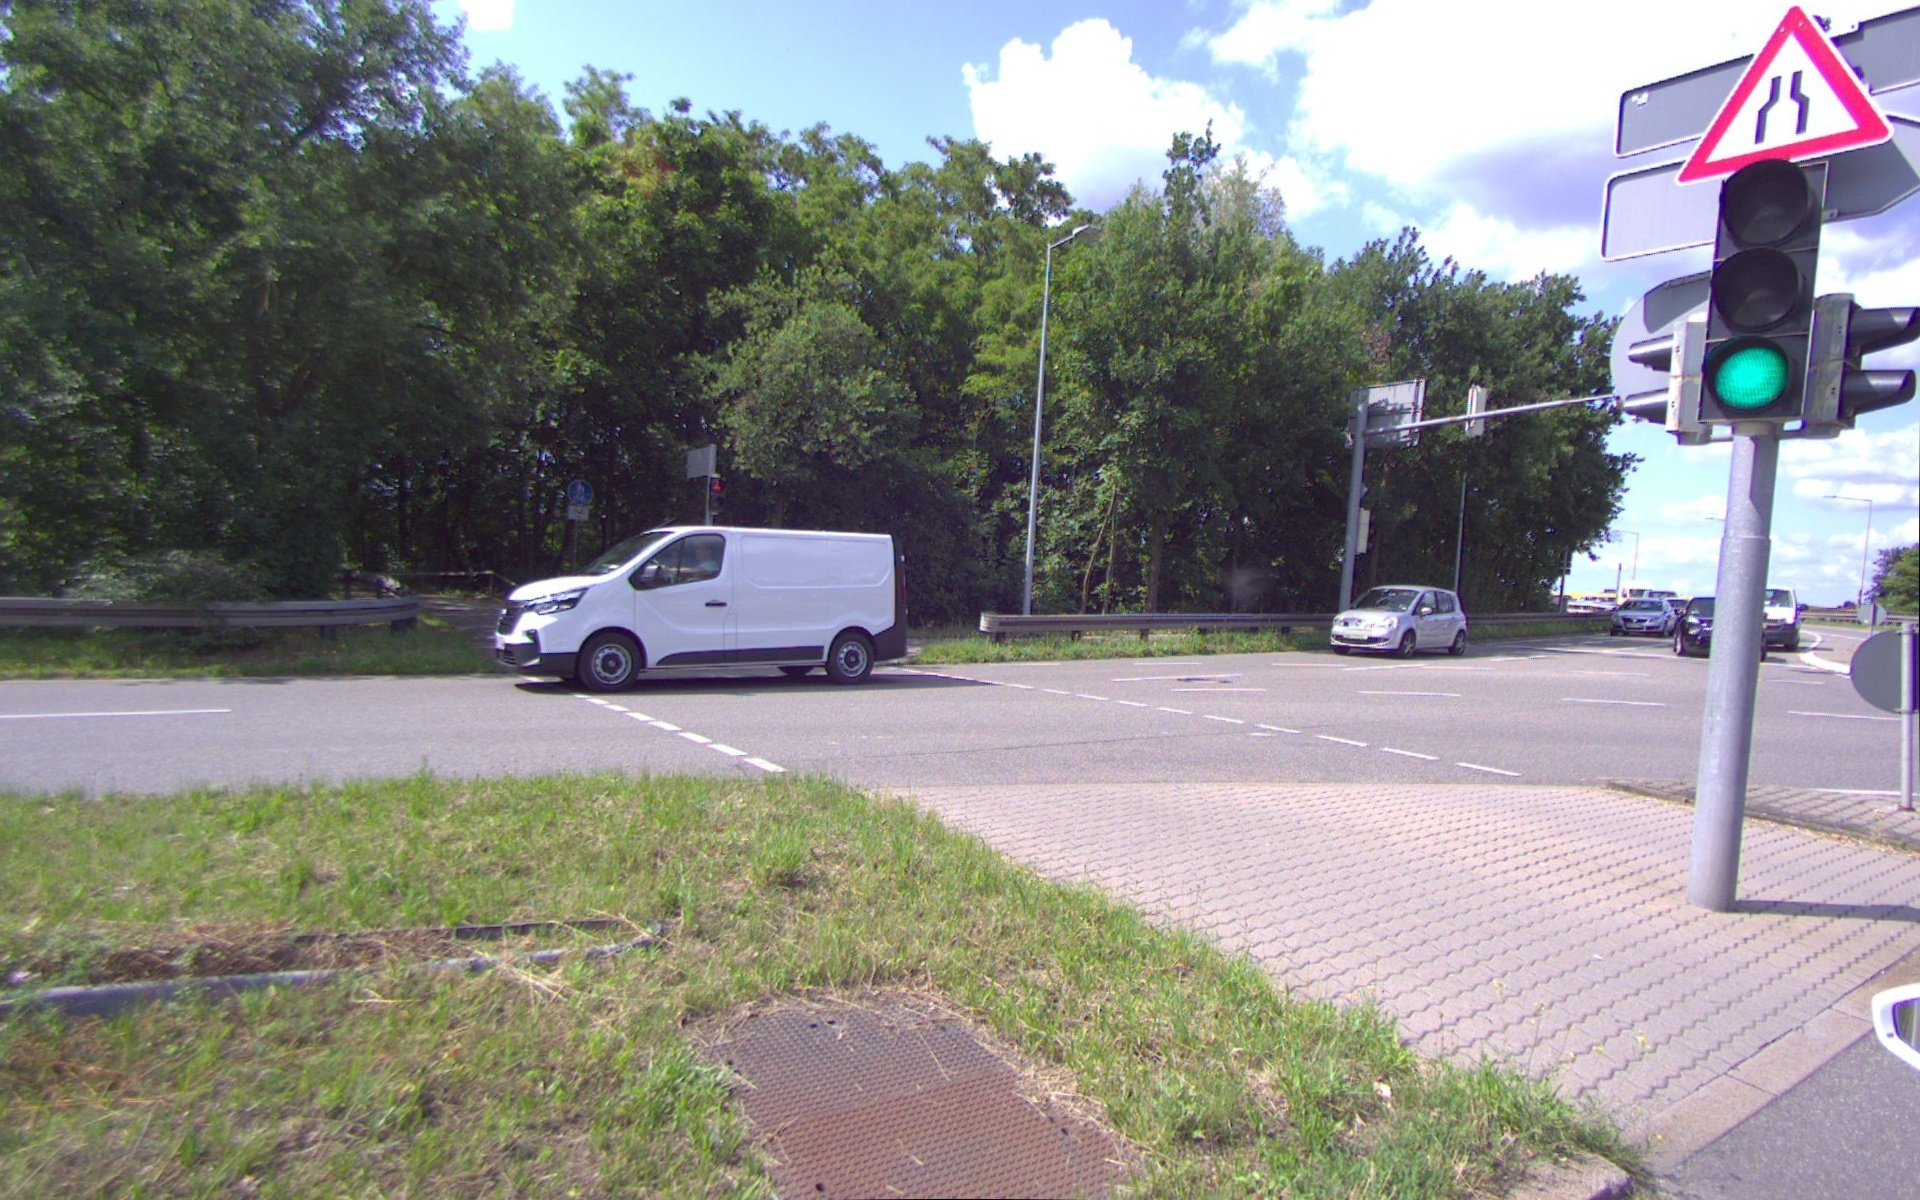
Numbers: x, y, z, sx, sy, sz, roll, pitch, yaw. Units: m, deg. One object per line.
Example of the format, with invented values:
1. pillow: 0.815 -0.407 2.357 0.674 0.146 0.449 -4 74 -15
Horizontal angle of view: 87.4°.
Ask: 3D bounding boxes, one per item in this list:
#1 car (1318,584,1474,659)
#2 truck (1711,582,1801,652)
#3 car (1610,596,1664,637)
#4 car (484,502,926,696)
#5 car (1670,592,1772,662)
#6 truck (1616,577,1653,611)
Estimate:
1. car: 9.976 0.431 22.853 4.037 1.541 1.717 0 1 -42
2. truck: 24.740 0.474 31.141 1.937 1.939 5.344 3 2 40
3. car: 26.667 0.607 39.521 1.660 1.498 4.697 1 0 35
4. car: -3.112 0.038 12.819 5.085 2.040 1.980 2 0 -36
5. car: 19.534 0.629 25.920 1.674 1.578 3.812 3 2 32
6. truck: 55.676 -0.507 83.027 1.964 2.656 6.092 1 1 29
